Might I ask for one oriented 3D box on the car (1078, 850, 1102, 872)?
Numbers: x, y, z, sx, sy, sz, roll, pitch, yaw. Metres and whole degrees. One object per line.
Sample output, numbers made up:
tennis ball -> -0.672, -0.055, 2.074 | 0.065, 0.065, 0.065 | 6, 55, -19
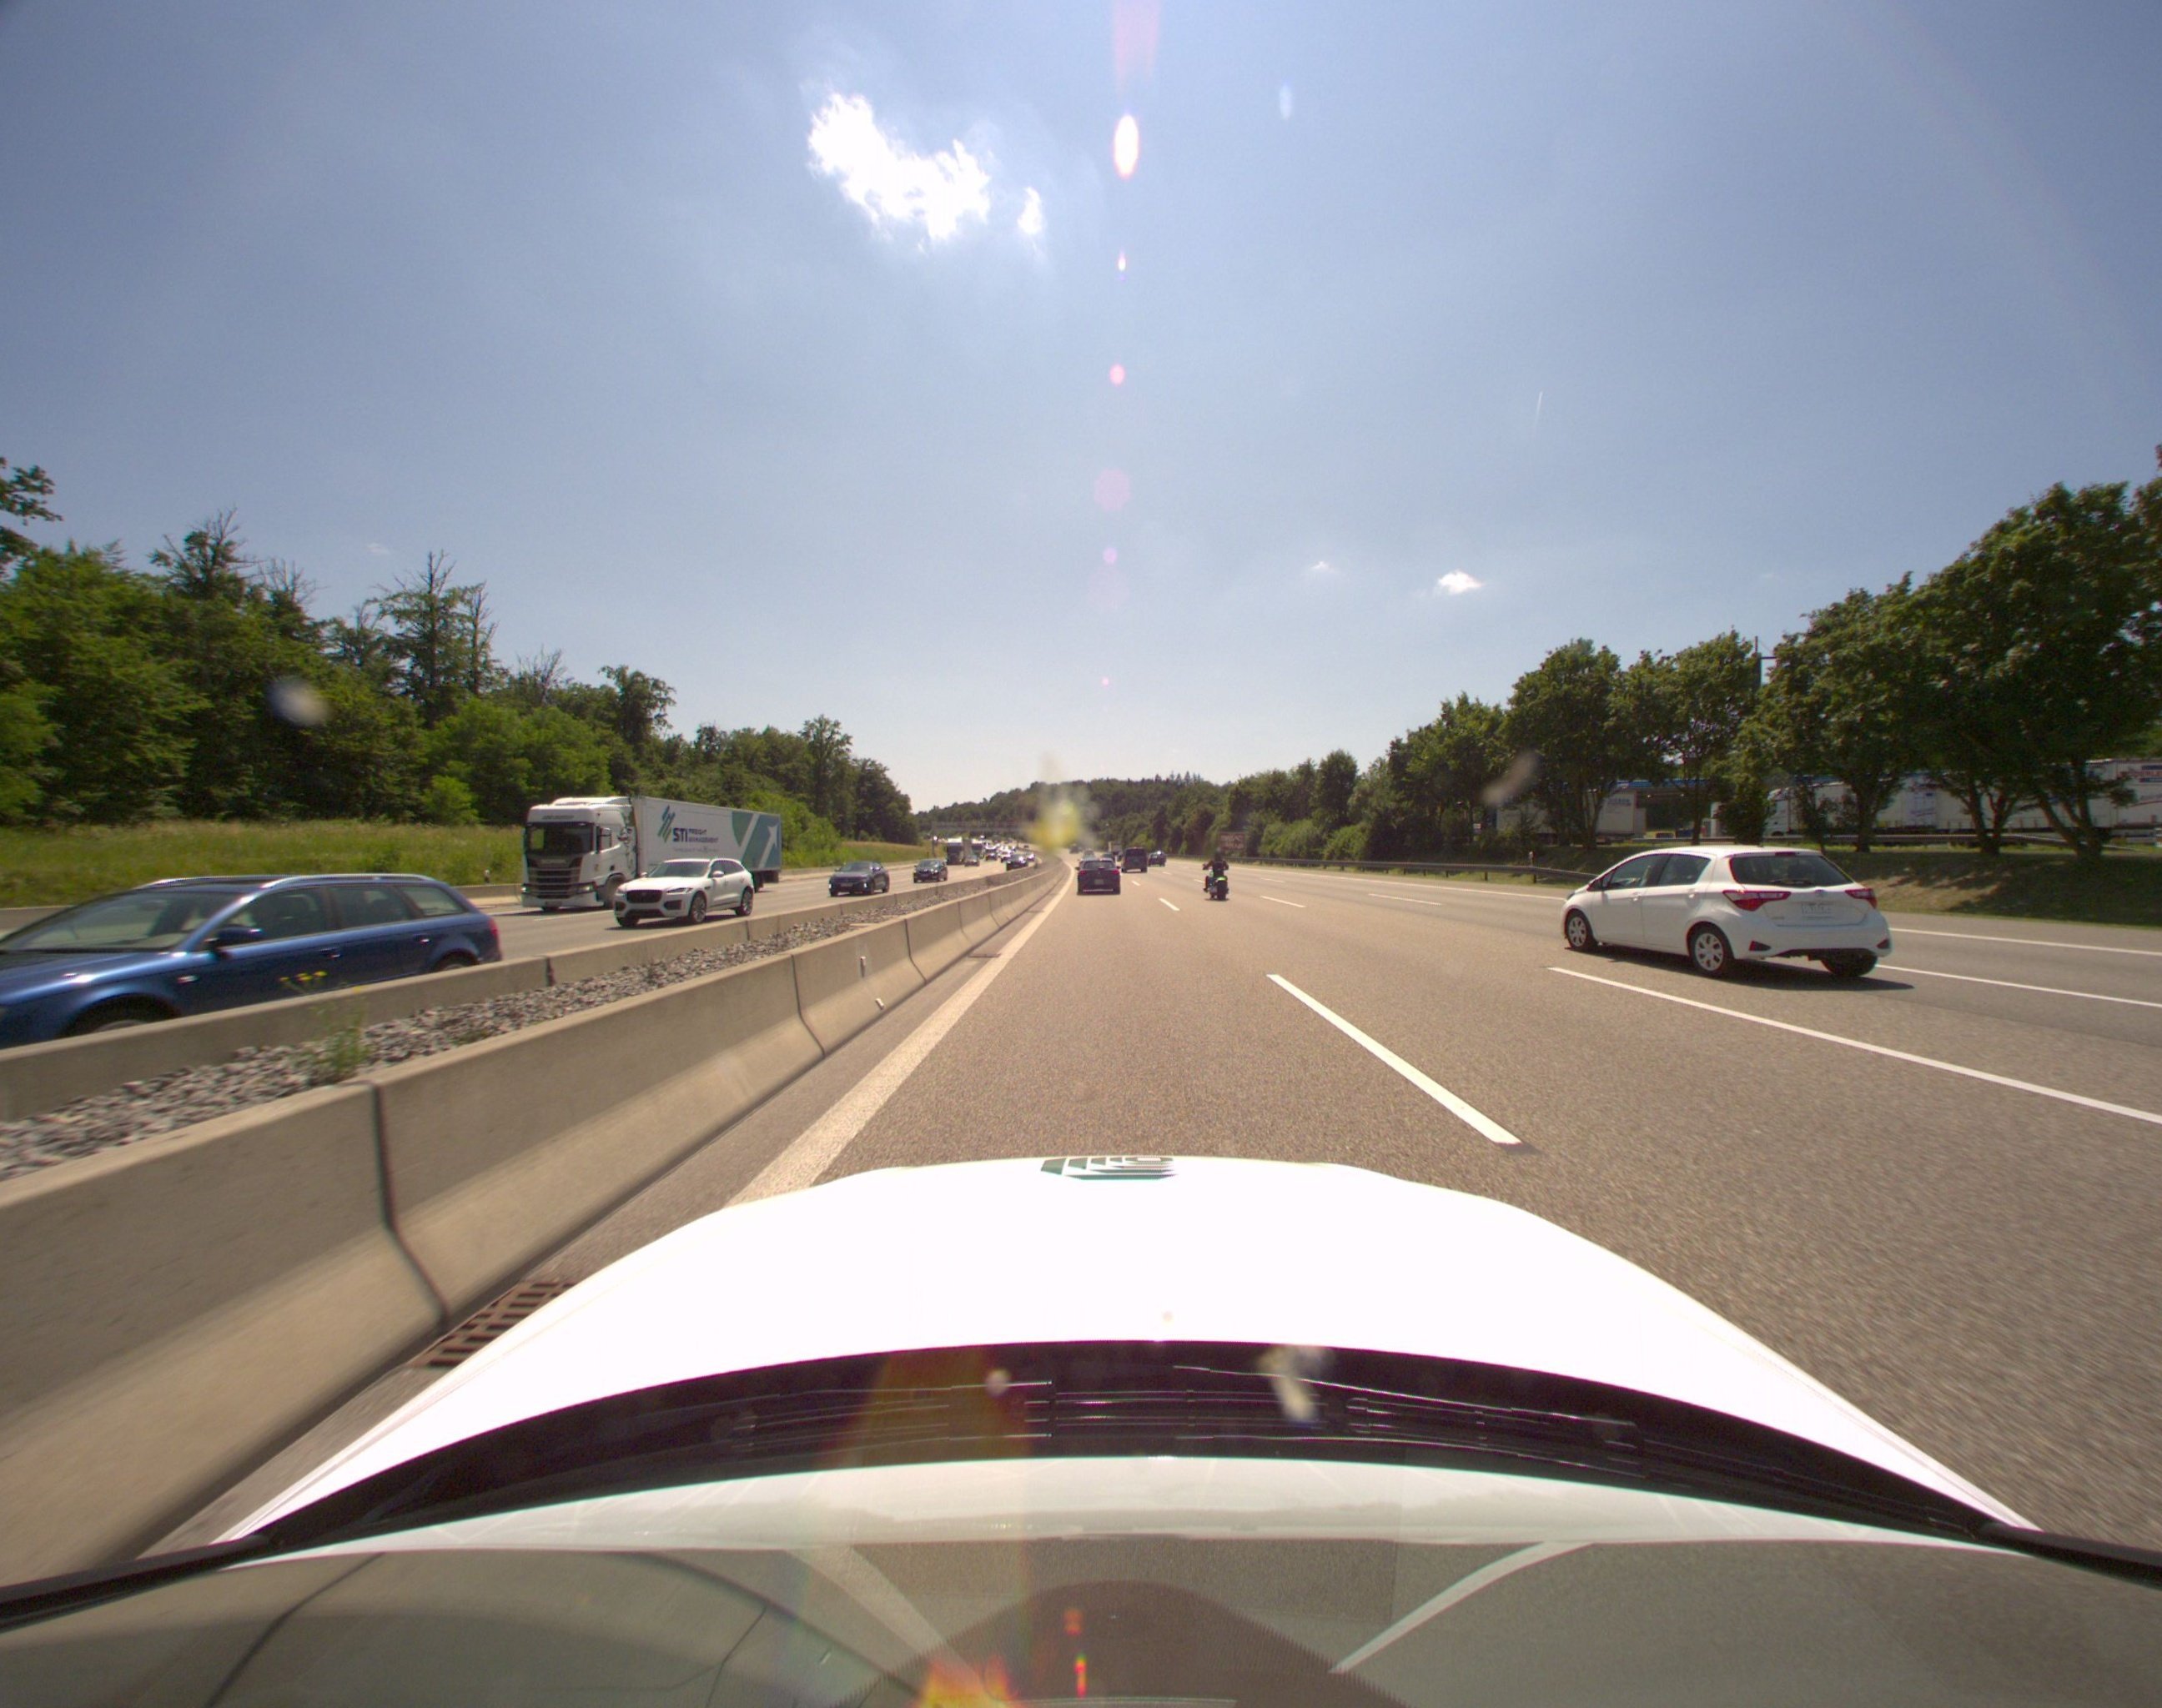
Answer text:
car -> 0.761, 0.686, 73.730 | 2.007, 1.846, 3.997 | -1, -2, -1

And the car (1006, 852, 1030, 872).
car -> -6.145, 0.728, 79.609 | 1.821, 1.829, 4.986 | -1, 0, 1

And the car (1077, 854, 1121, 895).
car -> 0.704, 0.785, 33.387 | 1.702, 1.433, 4.000 | 0, 1, 0

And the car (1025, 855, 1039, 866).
car -> -8.084, 1.077, 134.796 | 1.866, 1.633, 5.163 | -1, 0, 0

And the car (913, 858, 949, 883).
car -> -9.594, 1.018, 52.273 | 1.587, 1.506, 3.999 | -1, -1, 0

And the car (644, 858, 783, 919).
car -> -10.203, 0.902, 23.072 | 1.829, 1.543, 4.699 | 0, 0, -1

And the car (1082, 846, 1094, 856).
car -> 1.257, -0.649, 157.049 | 2.098, 1.744, 4.684 | -1, 2, -2

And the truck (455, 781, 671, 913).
truck -> -17.363, -0.197, 27.975 | 3.209, 4.003, 6.416 | 0, -1, 1

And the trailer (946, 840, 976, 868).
trailer -> -19.172, 0.045, 131.011 | 3.023, 4.360, 14.266 | 0, 0, -2

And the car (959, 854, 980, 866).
car -> -14.947, 0.792, 109.601 | 1.986, 1.496, 4.799 | -1, 0, 1

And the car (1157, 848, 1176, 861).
car -> 11.643, 0.088, 111.114 | 1.988, 1.728, 3.998 | -1, 0, -1

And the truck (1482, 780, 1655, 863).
truck -> 35.433, -2.030, 60.691 | 3.506, 5.320, 16.392 | 0, 0, 2

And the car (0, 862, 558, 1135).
car -> -6.964, 0.860, 6.945 | 1.743, 1.519, 4.828 | -1, 0, 2

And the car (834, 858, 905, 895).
car -> -9.657, 0.985, 37.527 | 1.987, 1.519, 4.587 | -1, 0, 1

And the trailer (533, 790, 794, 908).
trailer -> -17.170, -0.172, 35.893 | 3.218, 4.037, 15.290 | -1, 0, 1

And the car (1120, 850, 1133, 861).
car -> 6.830, 0.209, 123.210 | 1.660, 1.408, 4.904 | -1, 2, 0

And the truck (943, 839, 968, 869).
truck -> -18.957, 0.004, 123.469 | 3.034, 4.372, 6.451 | 0, -1, -2

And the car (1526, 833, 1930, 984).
car -> 7.892, 0.562, 10.635 | 1.744, 1.519, 4.484 | -1, 0, 1

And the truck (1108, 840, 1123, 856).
truck -> 7.536, -1.345, 176.759 | 2.975, 3.166, 7.576 | -1, 2, 1

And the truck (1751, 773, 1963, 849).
truck -> 45.321, -2.330, 48.282 | 2.923, 3.855, 10.392 | 0, -1, 2

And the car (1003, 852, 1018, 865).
car -> -11.629, 0.684, 134.716 | 1.996, 2.013, 5.184 | -1, 0, 0

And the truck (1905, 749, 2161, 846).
truck -> 44.998, -2.401, 38.460 | 2.954, 3.877, 9.266 | 0, -1, 2

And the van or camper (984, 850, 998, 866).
van or camper -> -17.109, 0.701, 155.402 | 2.555, 2.930, 7.335 | -1, 0, -5

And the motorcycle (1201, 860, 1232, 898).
motorcycle -> 4.514, 0.794, 27.195 | 0.534, 1.135, 2.435 | -2, 1, -2

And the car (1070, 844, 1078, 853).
car -> -1.941, -1.479, 225.250 | 2.258, 2.371, 4.701 | -1, 1, 0

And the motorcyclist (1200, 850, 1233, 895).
motorcyclist -> 4.491, 0.586, 27.022 | 0.850, 1.427, 1.022 | -2, 1, -2

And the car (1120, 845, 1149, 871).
car -> 4.324, 0.333, 66.294 | 1.957, 2.033, 5.081 | -1, -1, -1

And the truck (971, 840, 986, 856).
truck -> -22.487, -1.309, 178.539 | 2.698, 3.543, 6.613 | 0, -1, -3

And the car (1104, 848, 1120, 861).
car -> 4.147, 0.117, 109.052 | 1.939, 1.712, 3.998 | 0, -1, -1

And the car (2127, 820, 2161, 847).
car -> 72.072, -1.382, 53.513 | 1.731, 1.774, 3.837 | 0, -1, 2
